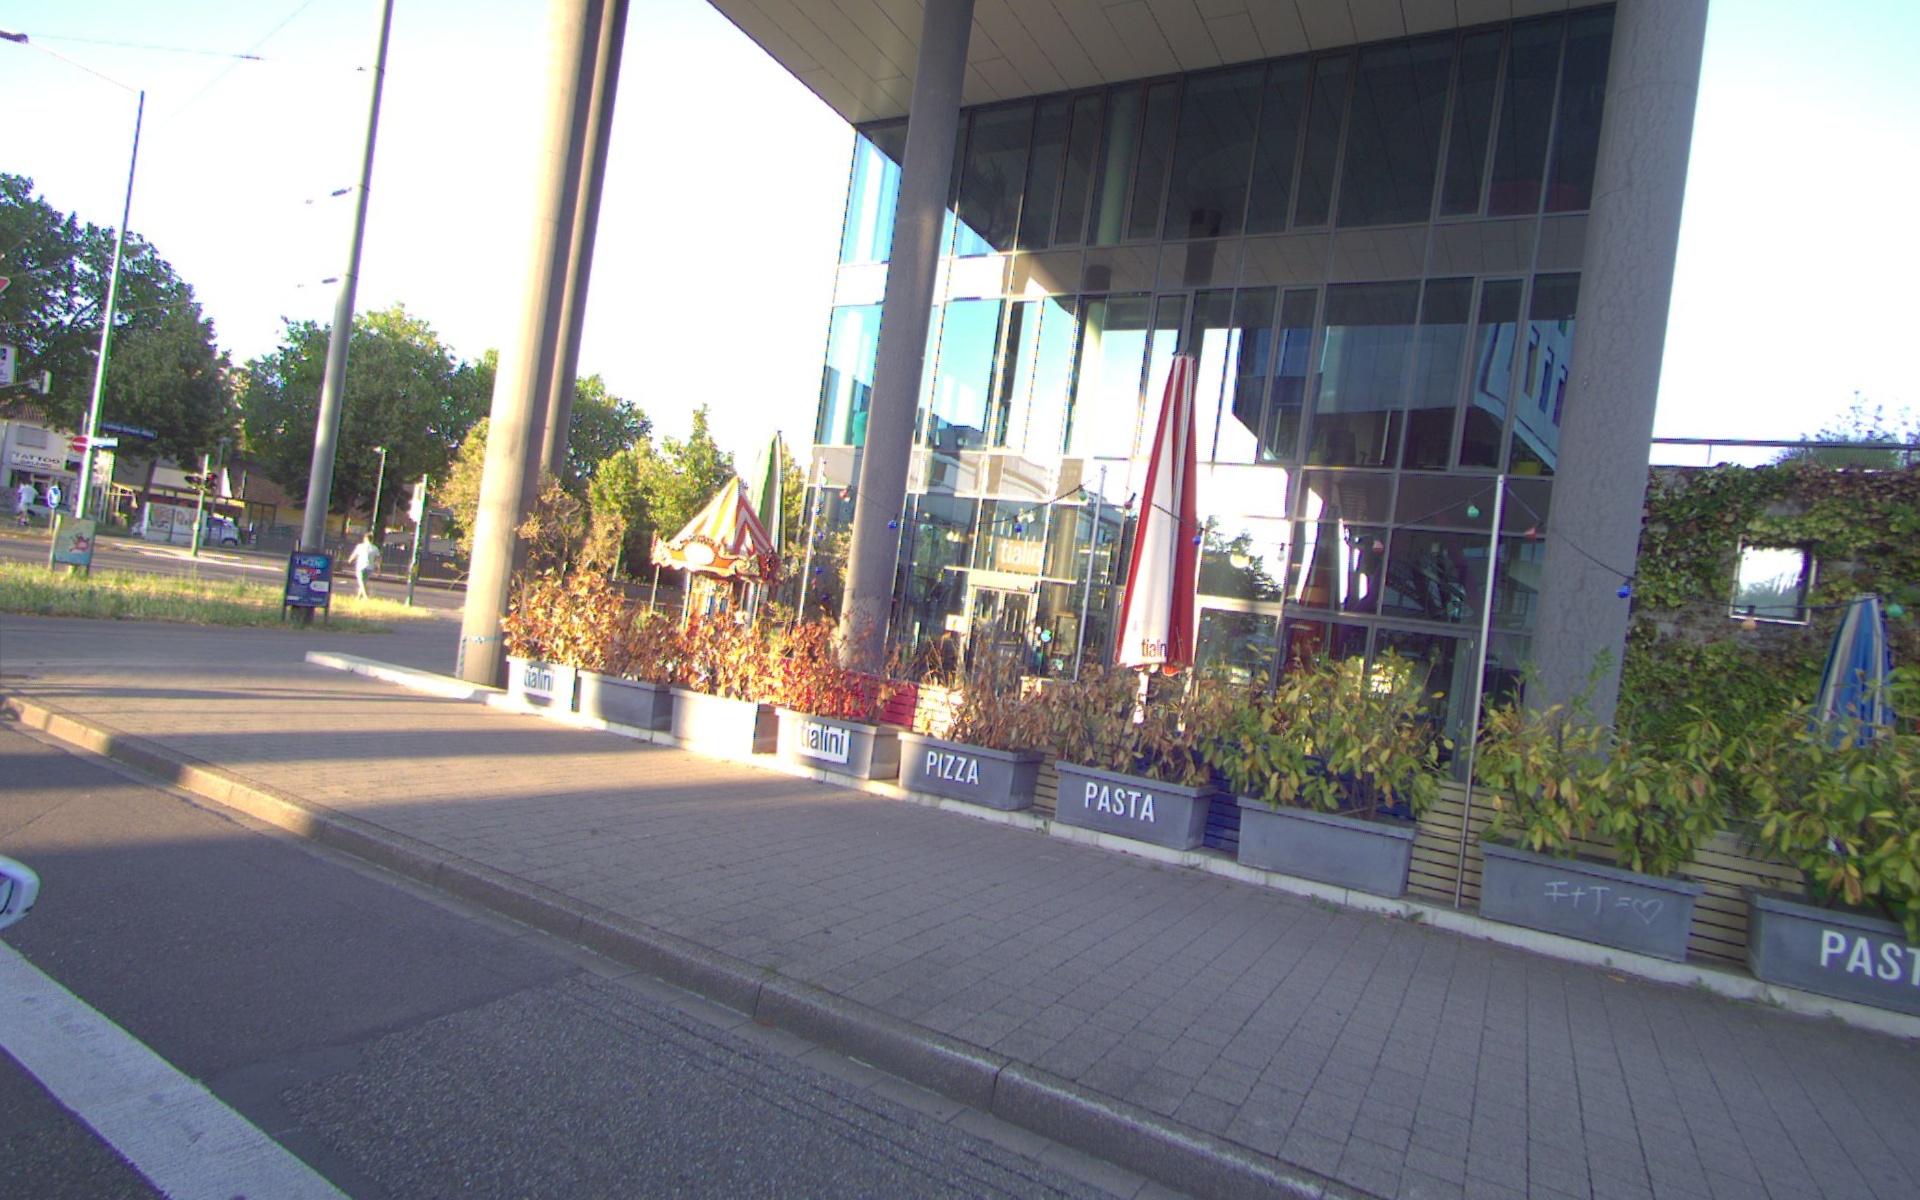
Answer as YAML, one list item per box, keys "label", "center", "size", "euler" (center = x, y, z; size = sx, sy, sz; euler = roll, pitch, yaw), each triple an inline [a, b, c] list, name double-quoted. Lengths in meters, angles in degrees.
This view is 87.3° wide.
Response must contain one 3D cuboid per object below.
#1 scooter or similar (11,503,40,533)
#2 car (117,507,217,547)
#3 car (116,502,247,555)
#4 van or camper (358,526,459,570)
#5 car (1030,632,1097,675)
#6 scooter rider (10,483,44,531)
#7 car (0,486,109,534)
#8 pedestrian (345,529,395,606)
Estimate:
- label: "scooter or similar"
  center: [-39.191, -3.443, 42.192]
  size: [1.222, 1.103, 0.511]
  euler: [7, -1, 32]
- label: "car"
  center: [-47.735, -4.381, 60.605]
  size: [1.968, 1.595, 4.236]
  euler: [7, -2, 34]
- label: "car"
  center: [-37.381, -3.403, 48.438]
  size: [1.829, 1.748, 4.547]
  euler: [7, -2, 27]
- label: "van or camper"
  center: [-43.974, -4.107, 80.437]
  size: [2.229, 2.438, 6.569]
  euler: [7, -2, 36]
- label: "car"
  center: [5.786, 3.008, 55.927]
  size: [1.826, 1.849, 4.390]
  euler: [10, 0, 31]
- label: "scooter rider"
  center: [-39.106, -3.906, 42.176]
  size: [0.658, 1.876, 0.703]
  euler: [7, -1, 31]
- label: "car"
  center: [-50.545, -4.984, 56.078]
  size: [1.968, 1.868, 4.236]
  euler: [7, -2, 34]
- label: "pedestrian"
  center: [-14.910, -0.829, 25.416]
  size: [0.758, 1.812, 0.793]
  euler: [8, -1, -40]
